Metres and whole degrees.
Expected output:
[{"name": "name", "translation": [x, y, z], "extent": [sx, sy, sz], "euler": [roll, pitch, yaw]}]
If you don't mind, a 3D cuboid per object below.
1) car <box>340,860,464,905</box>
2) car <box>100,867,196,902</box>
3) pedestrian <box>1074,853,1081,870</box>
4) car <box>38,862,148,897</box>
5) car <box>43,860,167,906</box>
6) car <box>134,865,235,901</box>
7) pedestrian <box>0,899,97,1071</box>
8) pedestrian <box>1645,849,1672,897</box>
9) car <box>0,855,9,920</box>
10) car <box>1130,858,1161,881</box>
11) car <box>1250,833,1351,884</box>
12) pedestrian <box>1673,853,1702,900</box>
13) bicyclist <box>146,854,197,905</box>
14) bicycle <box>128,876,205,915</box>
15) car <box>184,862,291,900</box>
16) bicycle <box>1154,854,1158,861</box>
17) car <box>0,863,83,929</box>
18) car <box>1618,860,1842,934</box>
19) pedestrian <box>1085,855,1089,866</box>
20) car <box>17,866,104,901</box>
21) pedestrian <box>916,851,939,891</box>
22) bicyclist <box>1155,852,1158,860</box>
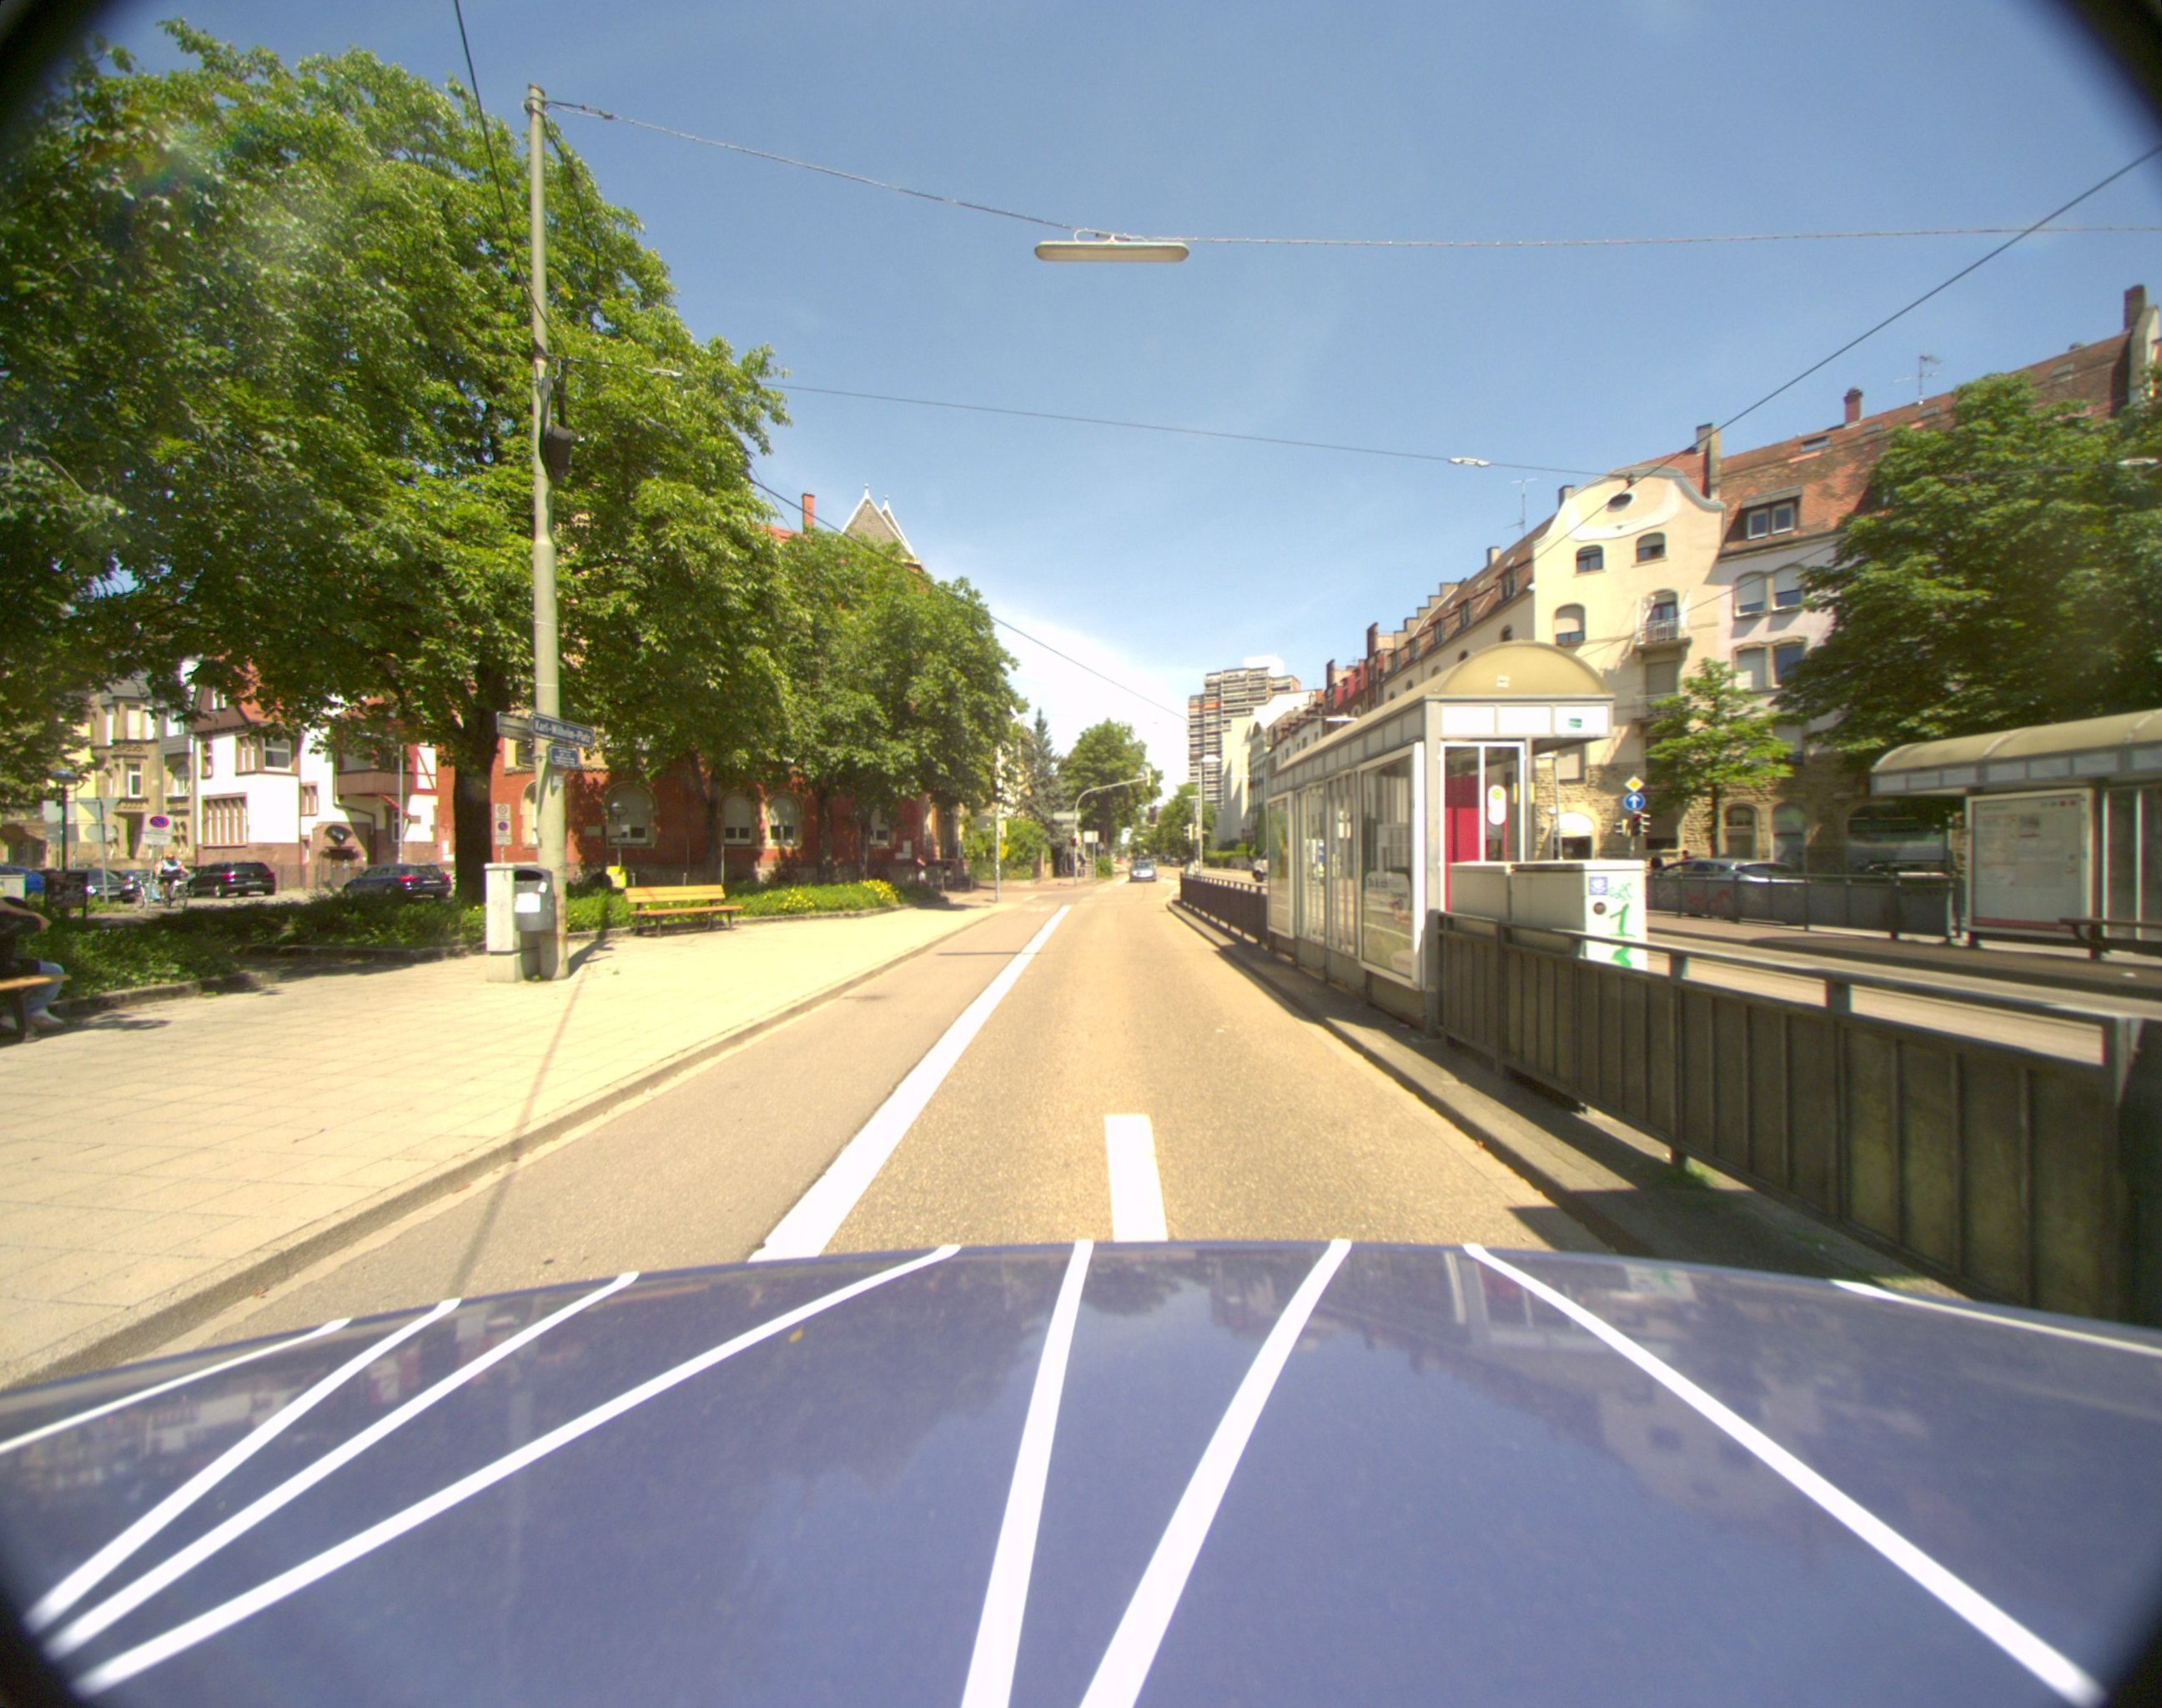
[{"name": "car", "translation": [-27.036, 1.132, 30.280], "extent": [4.299, 1.608, 1.941], "euler": [-2, 1, 23]}, {"name": "car", "translation": [-48.415, 1.570, 39.429], "extent": [4.299, 1.608, 1.941], "euler": [-2, 1, 23]}, {"name": "pedestrian", "translation": [-0.358, 0.717, 75.462], "extent": [0.702, 1.645, 0.665], "euler": [0, 0, 1]}, {"name": "car", "translation": [-46.215, 1.189, 35.538], "extent": [5.023, 1.474, 1.941], "euler": [-2, 1, 24]}, {"name": "car", "translation": [-38.107, 1.130, 29.665], "extent": [4.514, 1.608, 1.941], "euler": [-2, 1, 25]}, {"name": "car", "translation": [-44.141, 1.428, 37.406], "extent": [4.299, 1.608, 1.941], "euler": [-2, 1, 23]}, {"name": "pedestrian", "translation": [-7.737, 0.910, 5.409], "extent": [0.566, 1.136, 0.725], "euler": [0, 1, -16]}, {"name": "pedestrian", "translation": [20.122, 0.651, 26.471], "extent": [0.594, 1.637, 0.474], "euler": [0, 0, 1]}, {"name": "car", "translation": [-37.653, 1.198, 23.788], "extent": [1.934, 2.178, 4.315], "euler": [-2, 1, 23]}, {"name": "car", "translation": [4.314, 0.998, 50.808], "extent": [1.895, 1.372, 4.001], "euler": [-2, 1, 5]}, {"name": "car", "translation": [12.522, 0.245, 43.922], "extent": [2.277, 2.658, 5.816], "euler": [-3, 1, -25]}, {"name": "pedestrian", "translation": [20.294, 0.754, 25.415], "extent": [0.594, 1.542, 0.474], "euler": [0, 0, -1]}, {"name": "bicyclist", "translation": [-31.292, 0.888, 26.146], "extent": [1.251, 1.686, 0.876], "euler": [-2, 1, 31]}, {"name": "bicycle", "translation": [-32.064, 1.435, 26.615], "extent": [3.735, 1.256, 0.957], "euler": [-2, 1, 28]}, {"name": "car", "translation": [-39.582, 1.273, 35.660], "extent": [4.299, 1.608, 1.941], "euler": [-2, 1, 23]}, {"name": "bicycle", "translation": [18.200, 0.890, 183.646], "extent": [0.644, 1.503, 1.970], "euler": [-2, 1, -2]}, {"name": "car", "translation": [-32.837, 1.299, 22.020], "extent": [1.934, 1.869, 4.315], "euler": [-2, 1, 23]}, {"name": "car", "translation": [14.845, 0.910, 17.716], "extent": [1.812, 1.386, 3.999], "euler": [-2, 1, 1]}, {"name": "pedestrian", "translation": [0.991, 1.101, 124.123], "extent": [0.686, 1.732, 0.660], "euler": [-2, 1, 3]}, {"name": "car", "translation": [-59.170, 1.707, 44.075], "extent": [4.299, 1.862, 1.941], "euler": [-2, 1, 23]}, {"name": "pedestrian", "translation": [-7.219, 0.791, 35.663], "extent": [0.840, 1.813, 0.672], "euler": [-1, 1, -37]}, {"name": "bicyclist", "translation": [18.172, 0.409, 183.629], "extent": [0.644, 1.864, 0.716], "euler": [-2, 1, -2]}]
